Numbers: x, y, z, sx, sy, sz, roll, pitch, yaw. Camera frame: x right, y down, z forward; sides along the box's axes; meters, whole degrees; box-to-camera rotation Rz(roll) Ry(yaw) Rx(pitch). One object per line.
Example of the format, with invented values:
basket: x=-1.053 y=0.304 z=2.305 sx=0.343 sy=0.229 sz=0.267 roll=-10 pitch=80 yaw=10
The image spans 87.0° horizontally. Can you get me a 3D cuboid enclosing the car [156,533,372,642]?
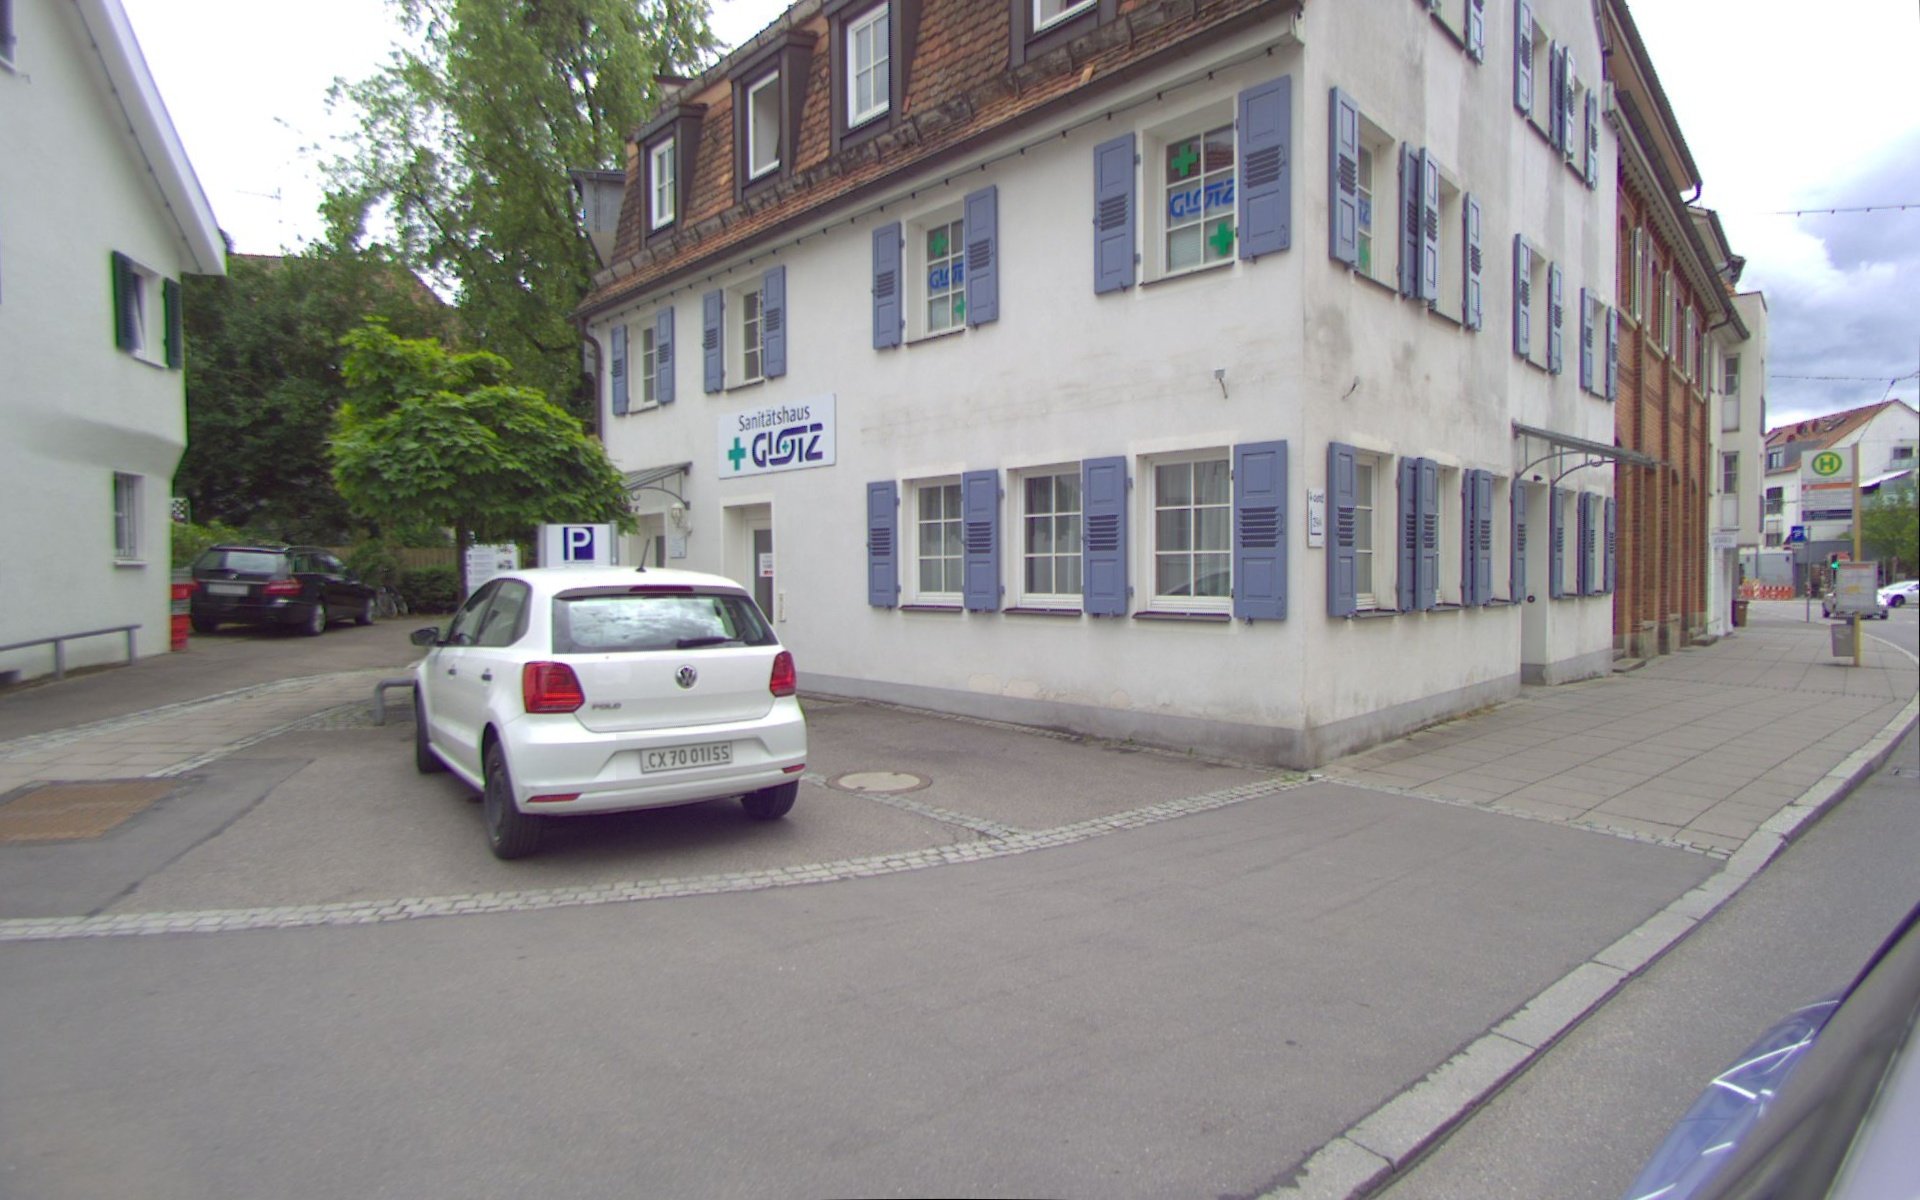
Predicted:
car: x=-11.901 y=-0.271 z=17.650 sx=1.873 sy=1.573 sz=4.010 roll=4 pitch=2 yaw=-16

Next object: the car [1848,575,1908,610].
car: x=38.299 y=-0.328 z=42.286 sx=1.749 sy=1.372 sz=3.941 roll=1 pitch=1 yaw=41

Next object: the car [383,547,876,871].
car: x=-2.363 y=0.414 z=6.559 sx=1.863 sy=1.436 sz=3.802 roll=-1 pitch=2 yaw=-38

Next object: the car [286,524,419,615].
car: x=-14.133 y=-0.725 z=23.788 sx=1.958 sy=1.924 sz=4.009 roll=0 pitch=2 yaw=-20
